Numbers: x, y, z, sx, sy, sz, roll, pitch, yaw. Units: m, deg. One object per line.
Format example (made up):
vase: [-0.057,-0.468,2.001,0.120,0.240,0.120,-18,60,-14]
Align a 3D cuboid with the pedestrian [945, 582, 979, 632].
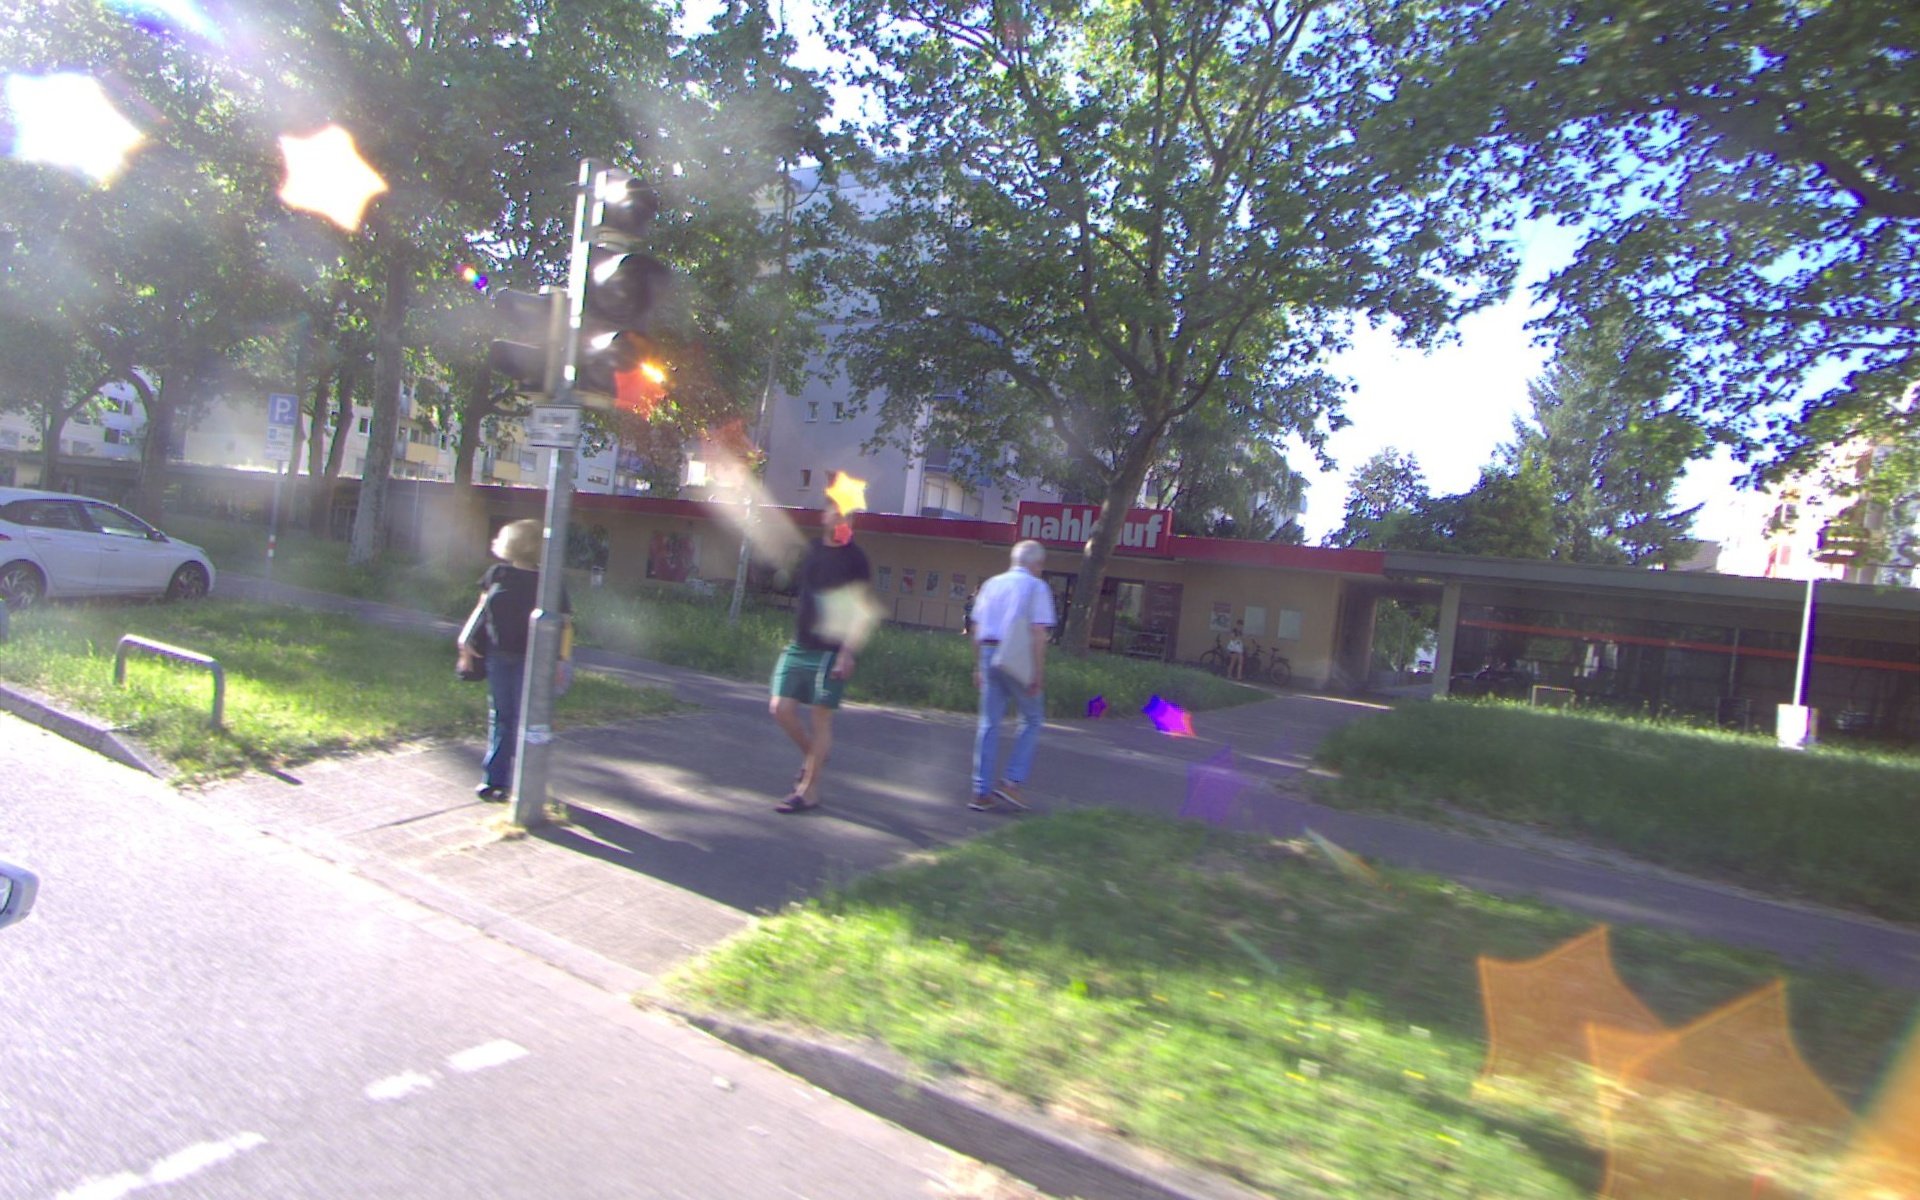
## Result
pedestrian: [0.059,0.235,31.173,0.703,1.449,0.532,8,2,26]

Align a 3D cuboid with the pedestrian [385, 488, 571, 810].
pedestrian: [-2.802,0.271,5.910,0.642,1.729,0.711,5,2,-3]

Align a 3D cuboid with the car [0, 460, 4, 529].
car: [-20.350,-1.957,18.319,1.799,1.877,4.661,6,1,-8]

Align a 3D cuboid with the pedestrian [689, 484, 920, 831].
pedestrian: [-0.948,0.325,6.207,0.912,1.909,0.799,7,1,30]

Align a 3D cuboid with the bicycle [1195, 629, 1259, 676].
bicycle: [7.914,1.545,29.902,0.593,1.194,1.836,7,0,-30]

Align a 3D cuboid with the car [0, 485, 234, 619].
car: [-11.841,-0.675,13.131,1.728,1.489,3.994,6,2,1]

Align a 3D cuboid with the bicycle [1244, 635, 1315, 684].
bicycle: [9.277,1.715,29.271,0.594,1.194,1.832,7,0,-36]

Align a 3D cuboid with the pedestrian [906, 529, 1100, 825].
pedestrian: [0.300,0.481,6.648,0.815,1.744,0.843,7,2,28]

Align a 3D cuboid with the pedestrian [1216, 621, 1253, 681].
pedestrian: [7.777,1.447,28.479,0.703,1.605,0.672,8,2,26]

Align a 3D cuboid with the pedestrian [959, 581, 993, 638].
pedestrian: [0.505,0.311,31.821,0.703,1.722,0.495,8,2,26]

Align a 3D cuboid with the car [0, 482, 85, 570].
car: [-17.119,-1.314,16.694,1.766,1.449,3.992,6,2,-3]
